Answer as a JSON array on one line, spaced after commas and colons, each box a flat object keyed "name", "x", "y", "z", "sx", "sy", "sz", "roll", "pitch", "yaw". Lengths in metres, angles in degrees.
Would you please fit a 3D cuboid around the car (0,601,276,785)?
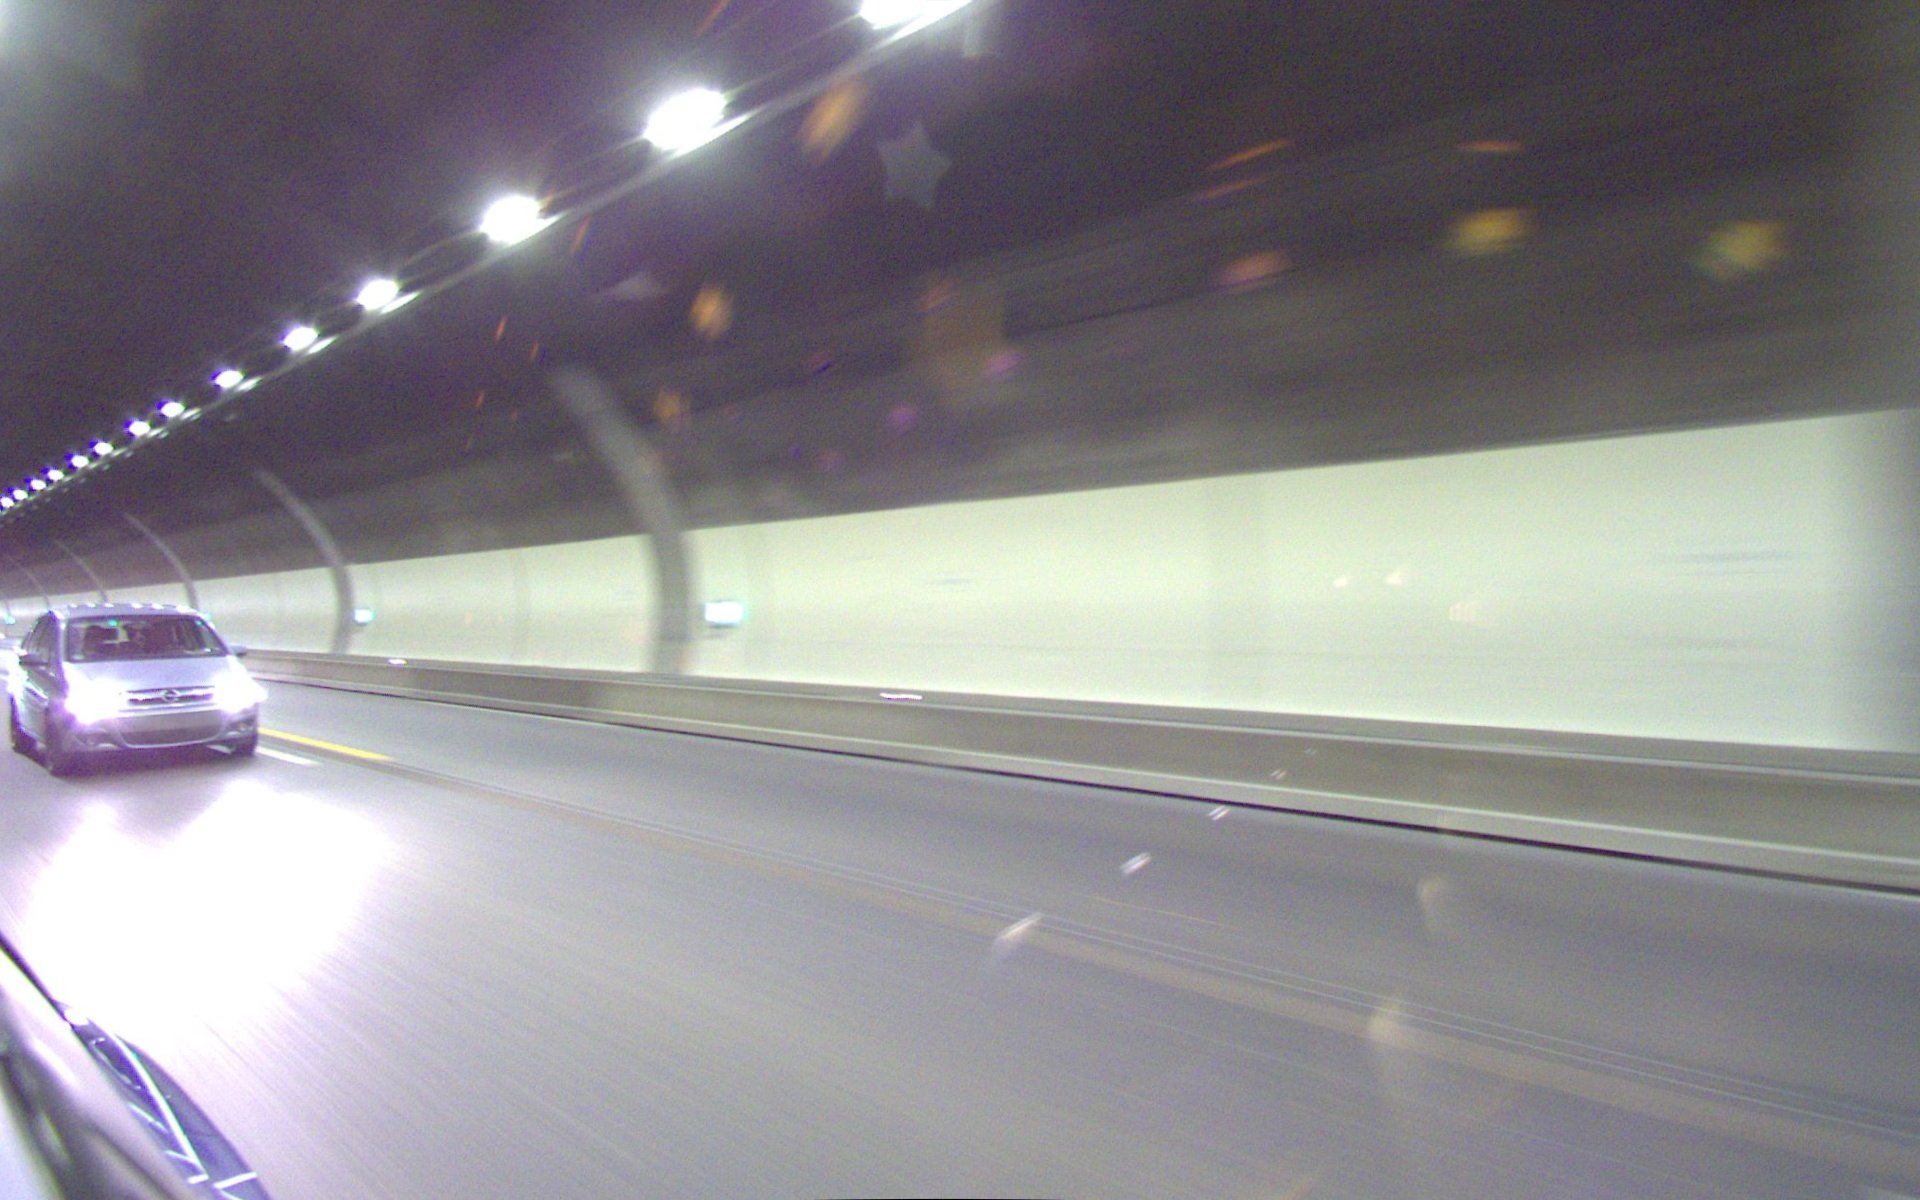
[{"name": "car", "x": -8.877, "y": 0.828, "z": 10.774, "sx": 4.097, "sy": 1.584, "sz": 1.743, "roll": -1, "pitch": -1, "yaw": 42}]
